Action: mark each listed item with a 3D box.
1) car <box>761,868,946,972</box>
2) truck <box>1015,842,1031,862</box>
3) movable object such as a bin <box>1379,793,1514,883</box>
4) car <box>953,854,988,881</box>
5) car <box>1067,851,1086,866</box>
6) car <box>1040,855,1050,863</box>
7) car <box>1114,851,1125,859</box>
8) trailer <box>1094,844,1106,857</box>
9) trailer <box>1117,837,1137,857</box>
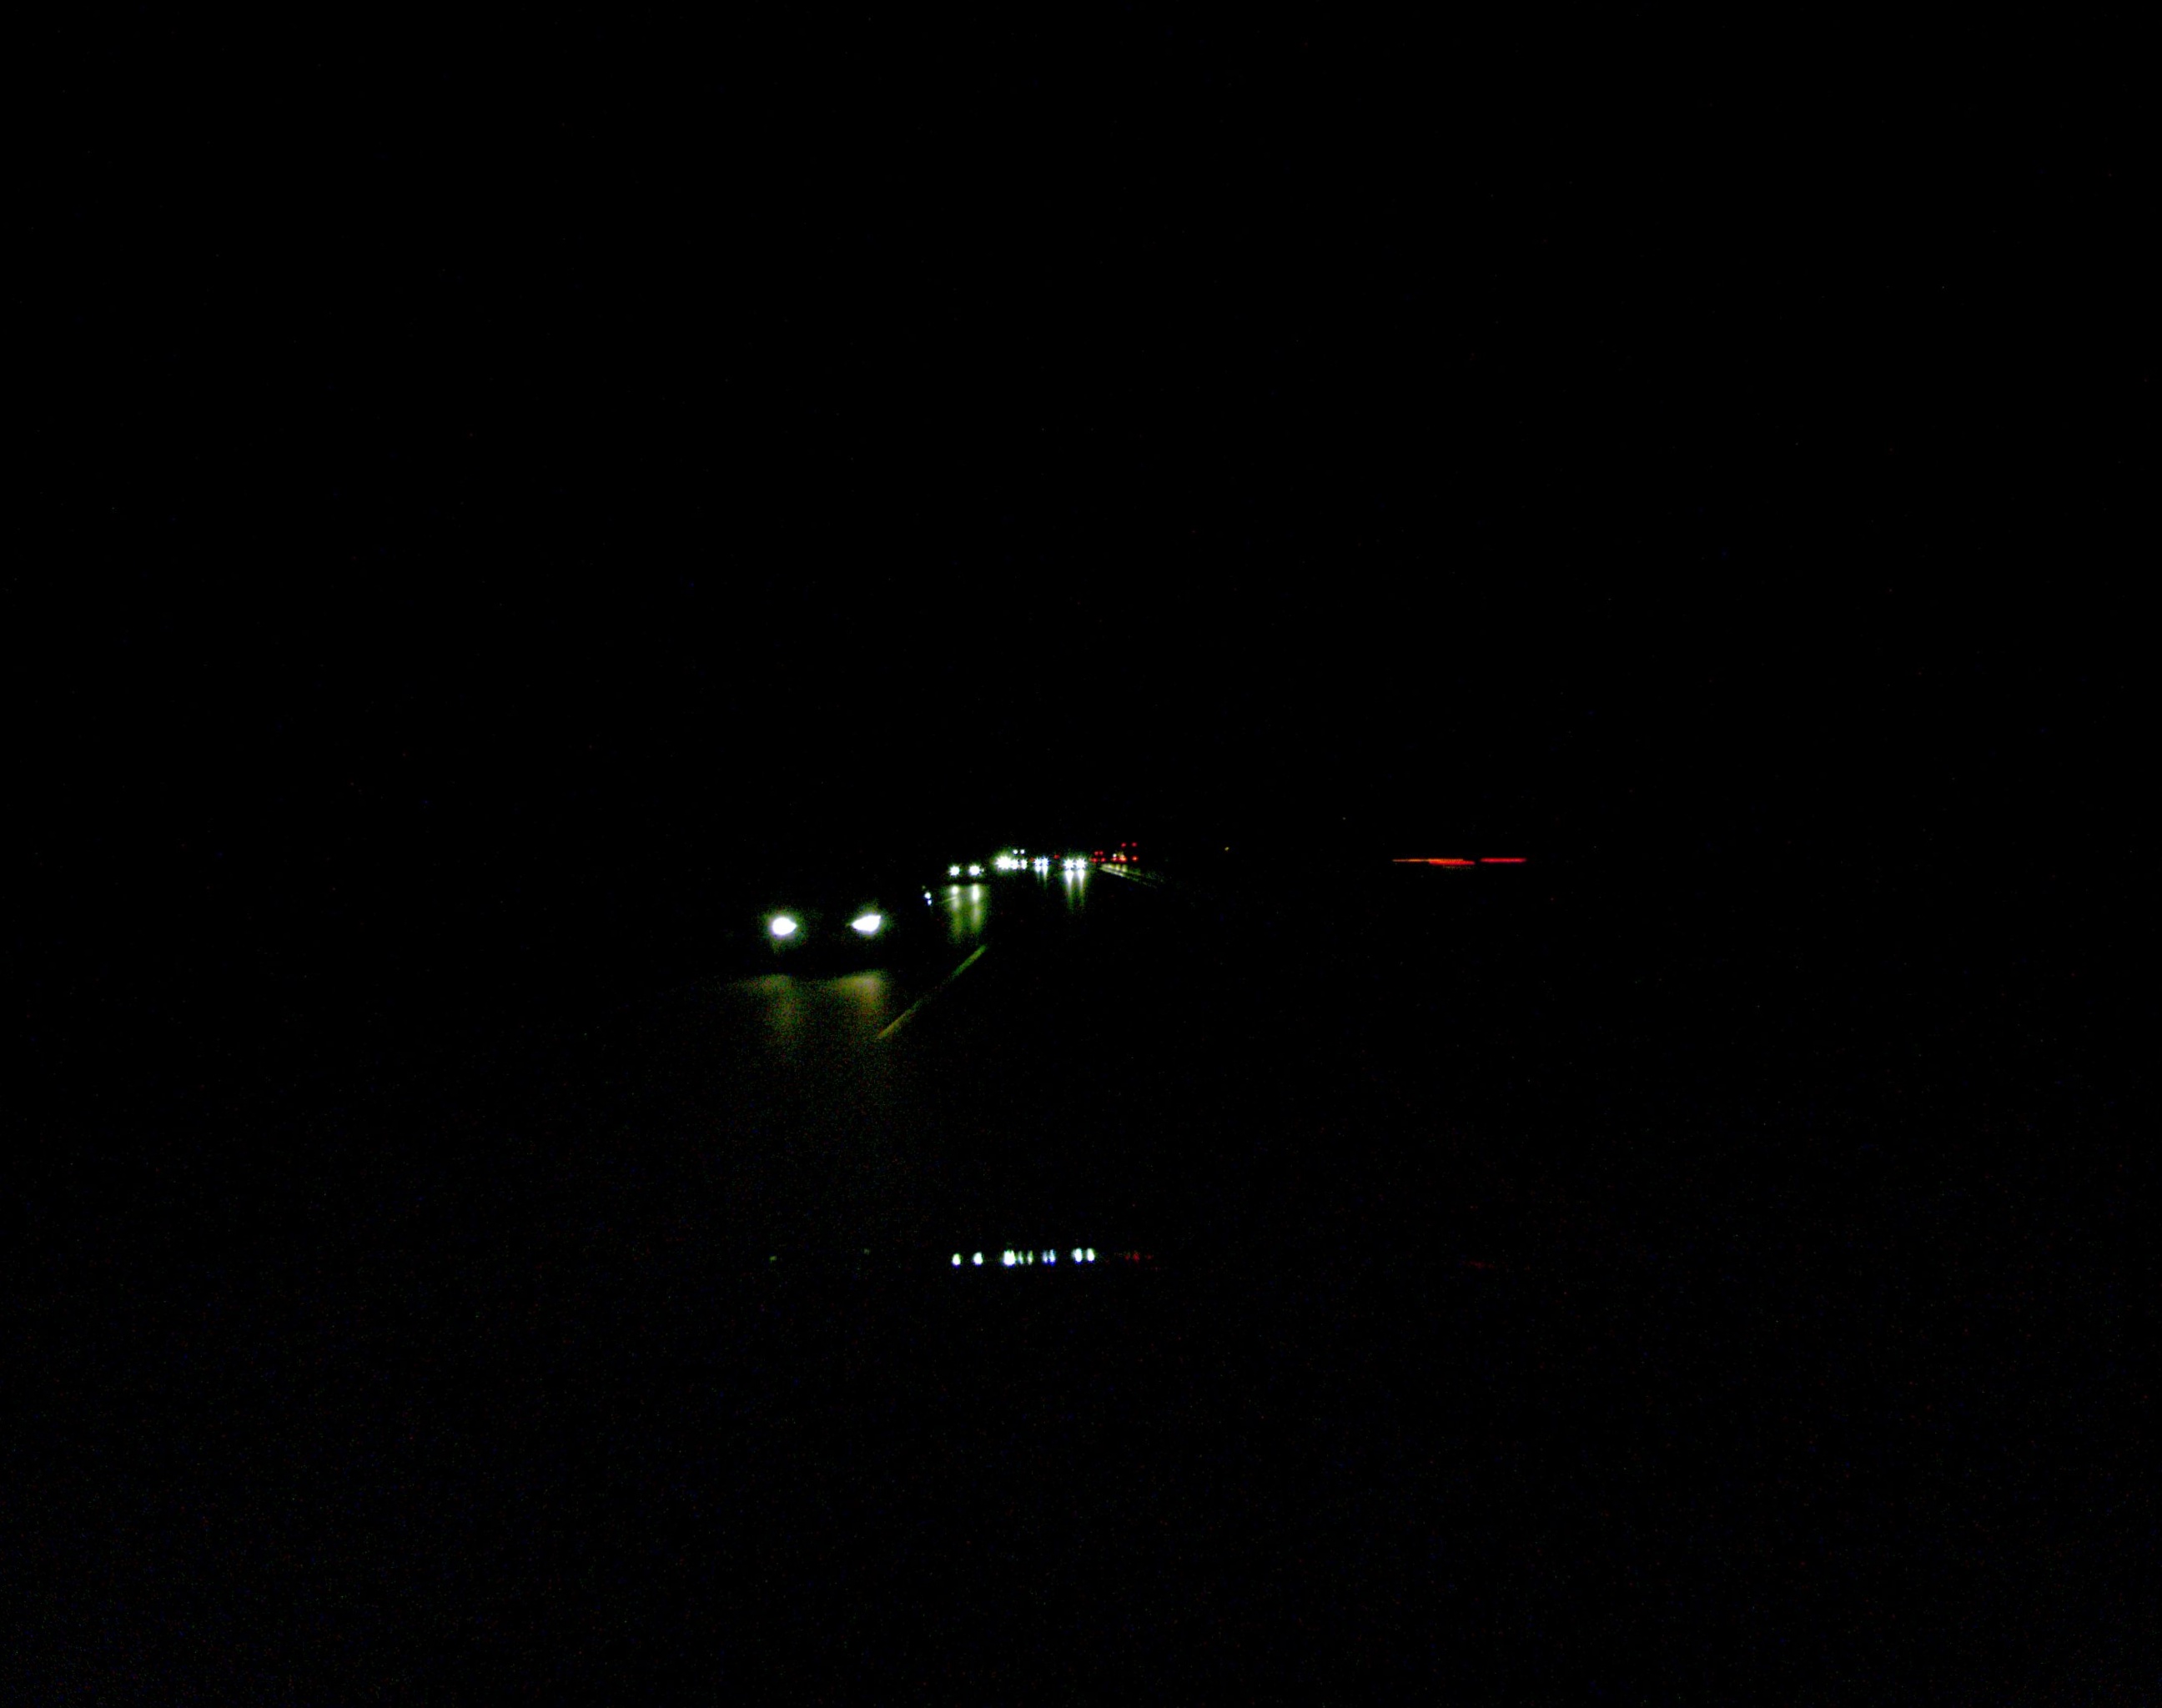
[{"bbox_3d":[-3.852,1.034,13.902,1.840,1.393,5.069,-2,0,-1],"label":"car"},{"bbox_3d":[-13.653,-0.507,177.864,3.348,4.407,6.989,-3,1,-7],"label":"truck"},{"bbox_3d":[15.484,-0.621,32.856,2.213,3.397,7.436,-2,0,0],"label":"movable object such as a bin"},{"bbox_3d":[-7.741,0.920,53.777,1.999,1.707,5.166,-2,0,-4],"label":"car"},{"bbox_3d":[-0.504,0.506,89.689,2.011,1.652,4.000,-2,0,2],"label":"car"},{"bbox_3d":[-7.611,0.949,158.660,1.940,1.608,3.998,-2,0,-4],"label":"car"},{"bbox_3d":[7.931,0.166,156.532,1.818,1.444,4.132,-2,0,-2],"label":"car"},{"bbox_3d":[5.797,-1.049,235.178,3.065,3.667,11.683,-3,0,-2],"label":"trailer"},{"bbox_3d":[10.507,-1.586,175.596,2.860,4.407,13.976,-3,0,-2],"label":"trailer"}]
